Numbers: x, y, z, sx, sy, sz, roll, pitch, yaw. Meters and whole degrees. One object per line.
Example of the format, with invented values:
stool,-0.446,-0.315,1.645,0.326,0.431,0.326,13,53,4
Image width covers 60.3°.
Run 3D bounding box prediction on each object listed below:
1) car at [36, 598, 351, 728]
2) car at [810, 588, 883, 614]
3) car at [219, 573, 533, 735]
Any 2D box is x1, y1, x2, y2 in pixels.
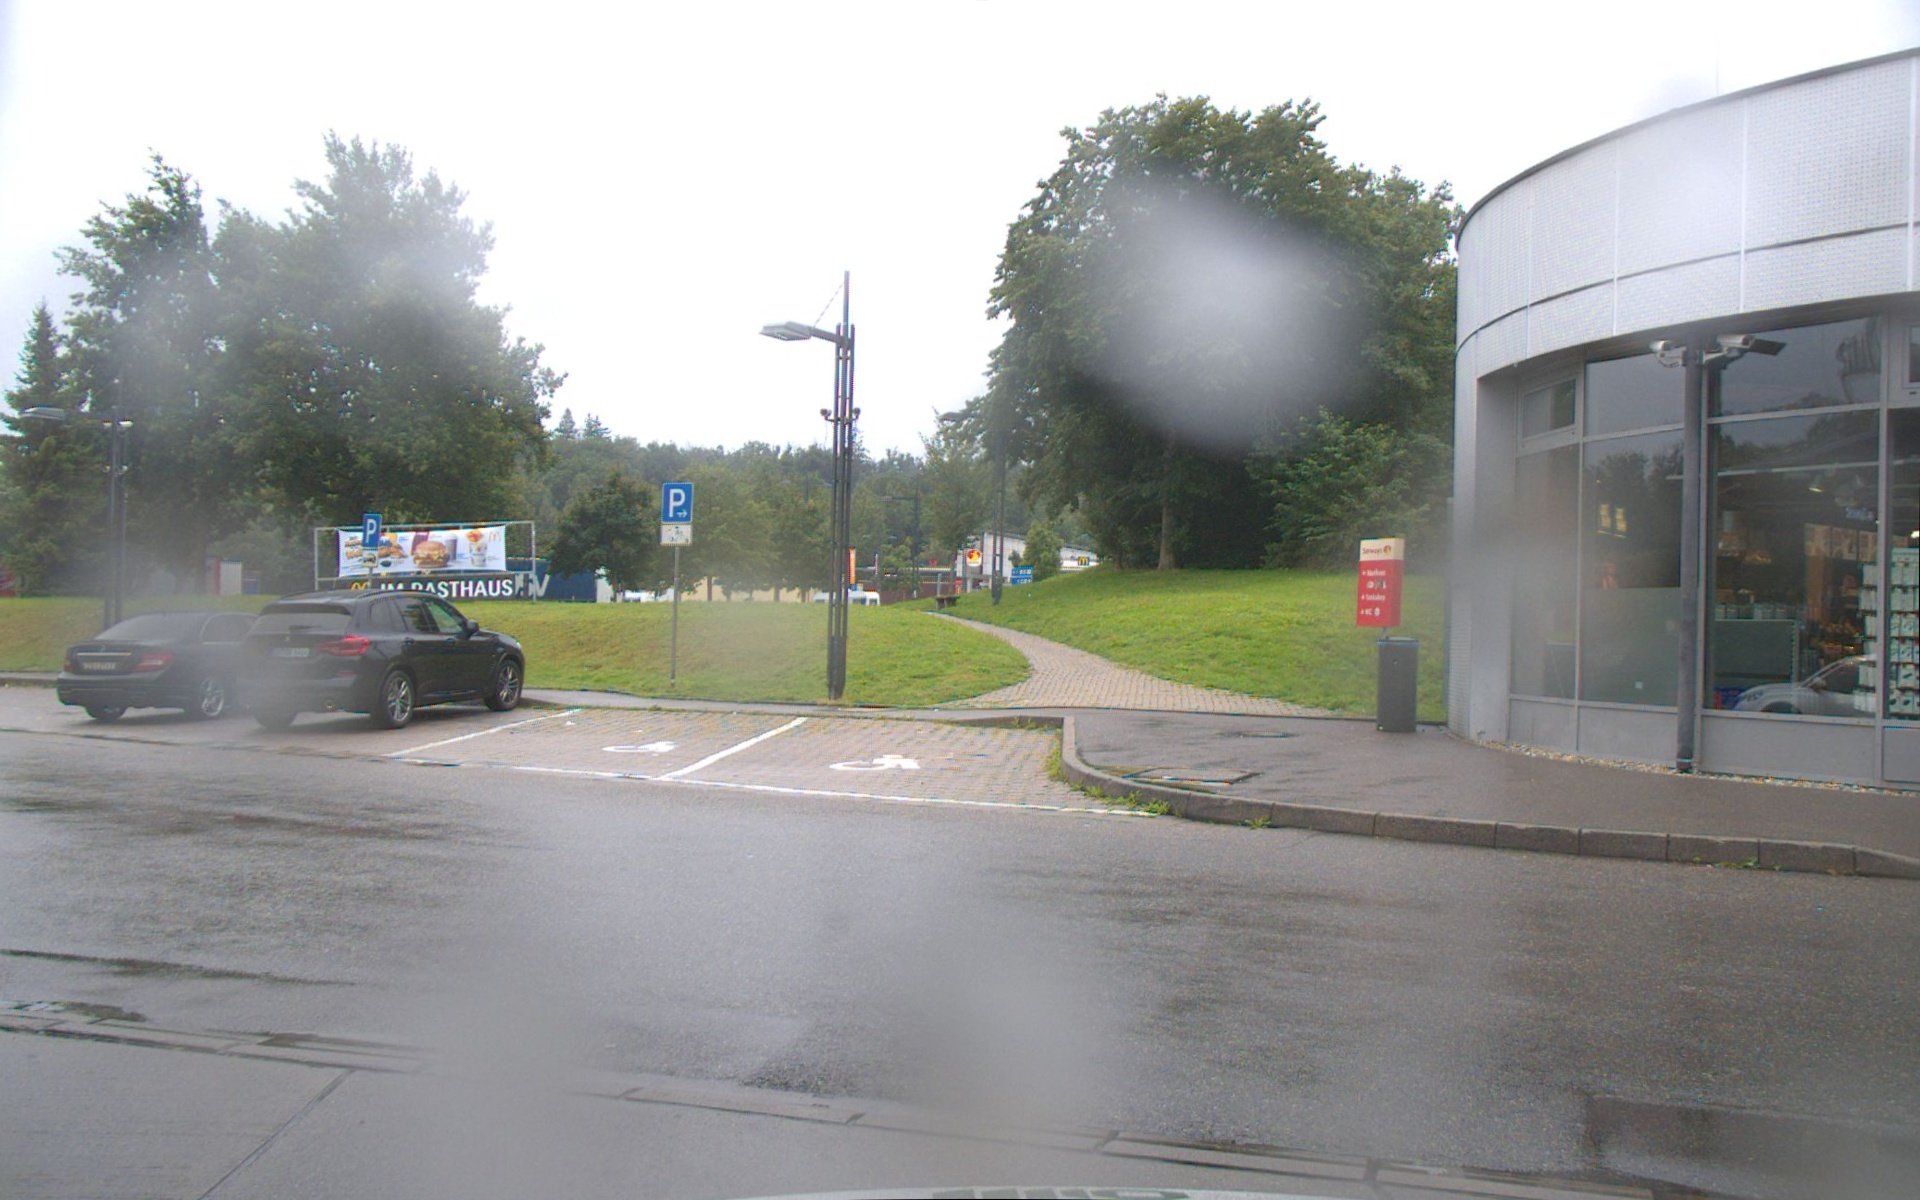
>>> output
car,-10.361,0.785,22.744,1.844,1.592,4.189,0,0,11
car,-9.181,0.074,133.614,5.310,2.049,2.456,1,0,19
car,-7.335,0.612,21.305,1.844,1.860,4.417,0,0,11
